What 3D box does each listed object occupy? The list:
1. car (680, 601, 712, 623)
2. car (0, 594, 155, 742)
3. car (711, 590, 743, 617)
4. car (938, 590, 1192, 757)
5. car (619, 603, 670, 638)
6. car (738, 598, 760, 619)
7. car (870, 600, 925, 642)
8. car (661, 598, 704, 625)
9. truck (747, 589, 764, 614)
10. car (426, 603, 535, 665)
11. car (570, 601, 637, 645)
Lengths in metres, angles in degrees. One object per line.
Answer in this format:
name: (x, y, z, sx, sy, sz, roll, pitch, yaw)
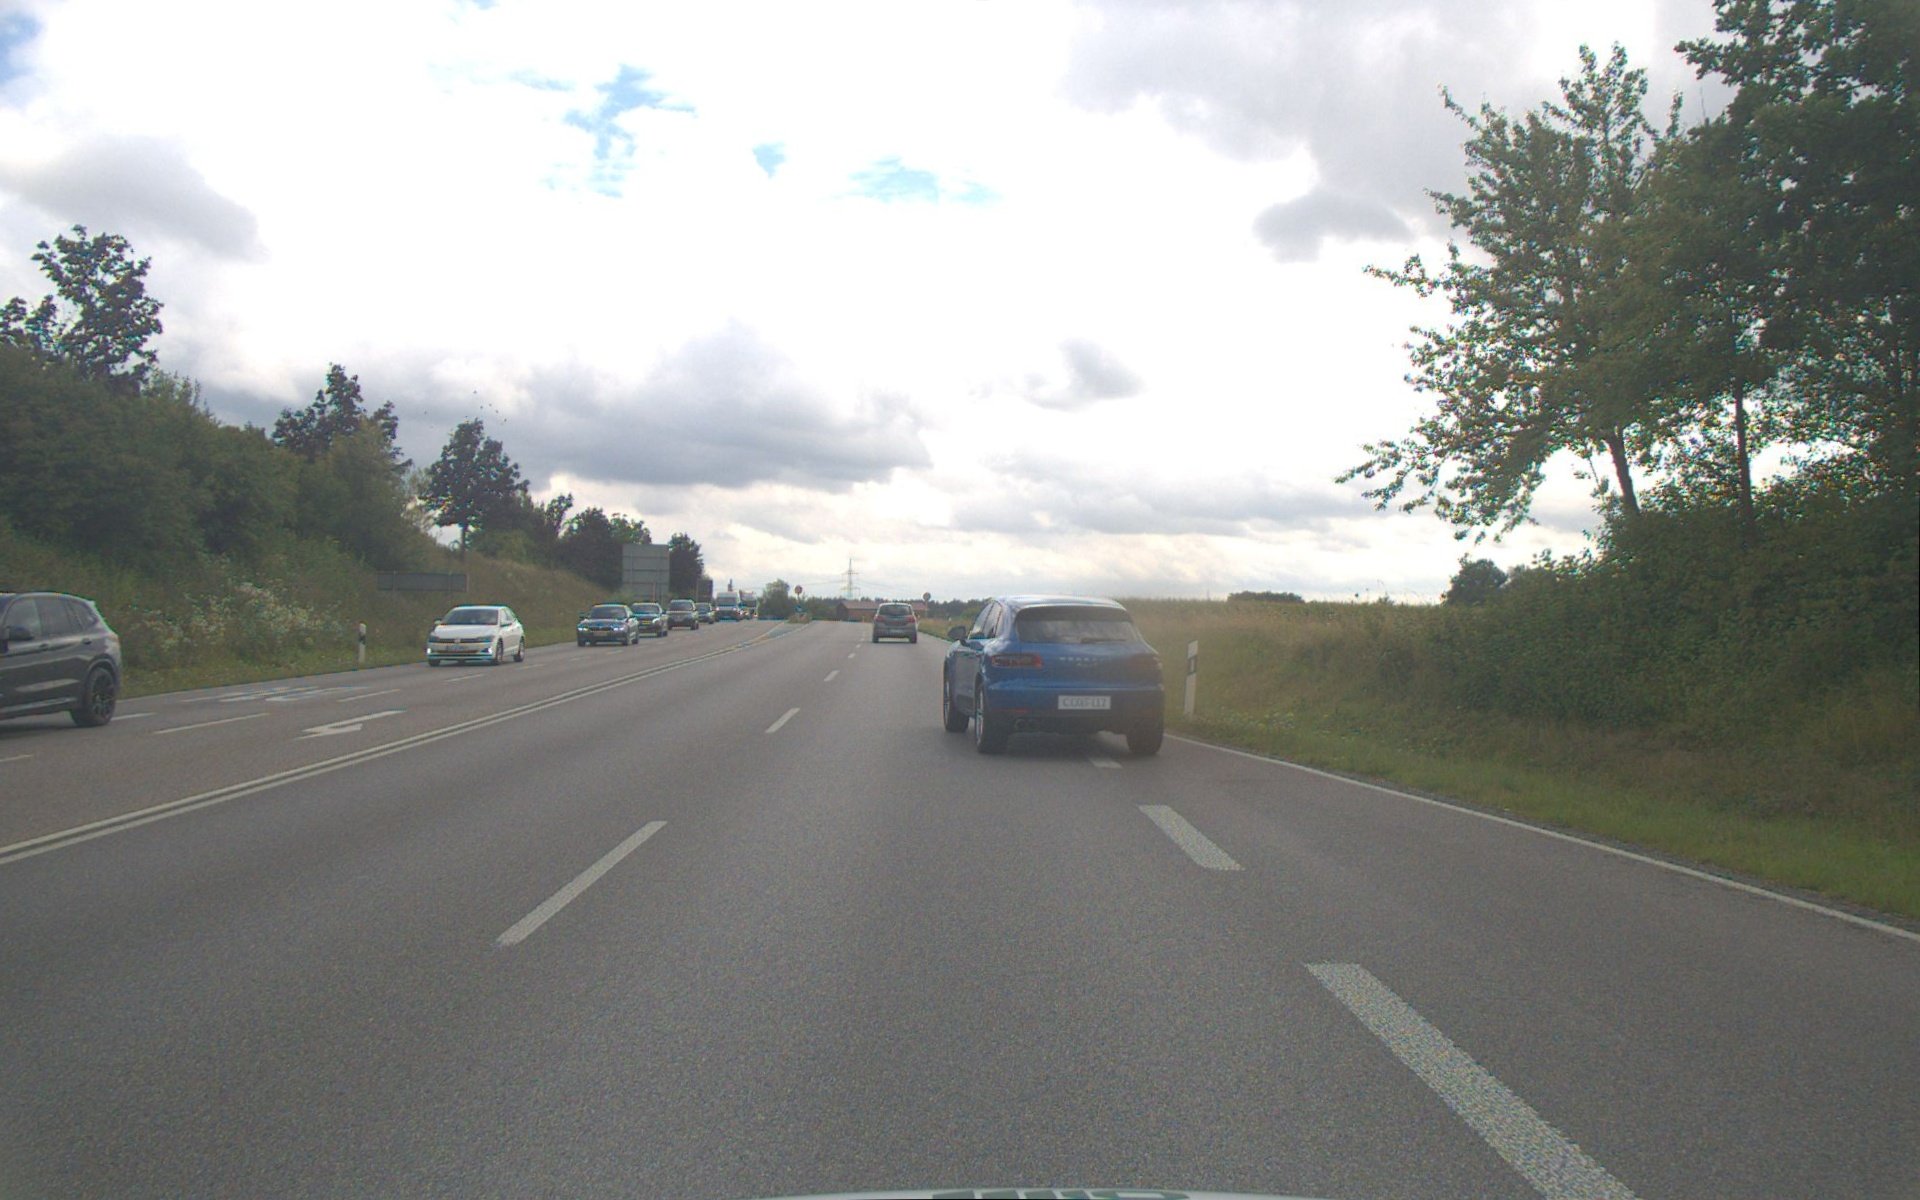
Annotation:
car: (-18.606, 0.851, 116.739, 1.955, 1.517, 3.996, 0, 0, -5)
car: (-11.655, 0.759, 19.570, 1.953, 1.639, 4.991, 0, 0, -2)
car: (-19.852, 0.297, 140.914, 2.317, 2.250, 5.917, 0, 0, -4)
car: (0.997, 0.707, 18.414, 1.956, 1.598, 4.748, 0, 0, -7)
car: (-14.495, 0.925, 76.155, 1.761, 1.512, 4.166, 0, 0, -3)
car: (-23.572, 0.944, 184.799, 2.319, 2.250, 5.298, 0, 0, -8)
car: (-2.422, 0.776, 63.603, 1.954, 1.562, 3.996, 1, 0, -4)
car: (-15.830, 0.647, 94.509, 1.954, 1.534, 3.997, 0, 0, -3)
truck: (-30.940, 0.217, 249.853, 2.520, 3.699, 14.635, 0, 0, -8)
car: (-11.987, 0.821, 41.606, 1.634, 1.467, 4.145, 0, 0, -2)
car: (-12.926, 0.805, 60.156, 1.955, 1.534, 3.995, 0, 0, -6)
